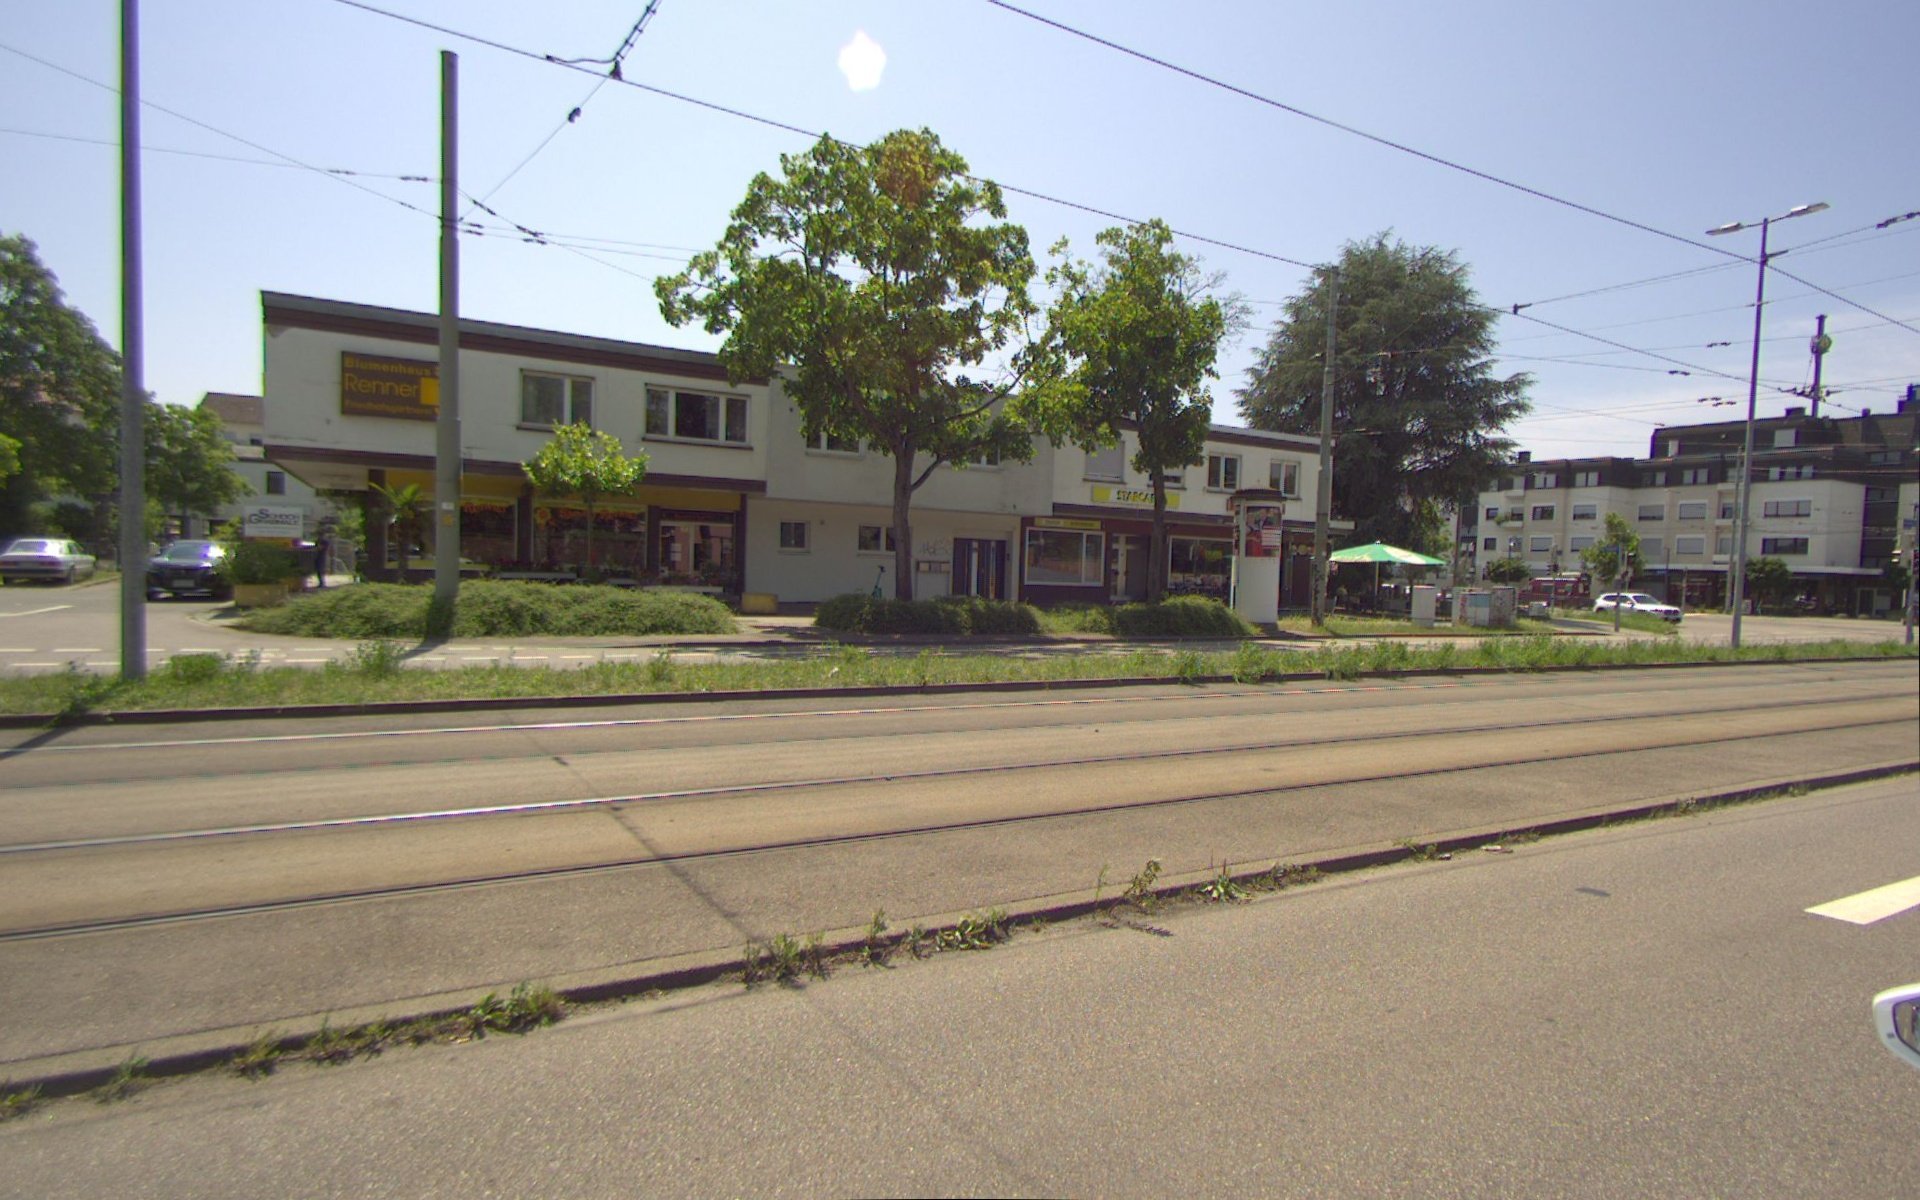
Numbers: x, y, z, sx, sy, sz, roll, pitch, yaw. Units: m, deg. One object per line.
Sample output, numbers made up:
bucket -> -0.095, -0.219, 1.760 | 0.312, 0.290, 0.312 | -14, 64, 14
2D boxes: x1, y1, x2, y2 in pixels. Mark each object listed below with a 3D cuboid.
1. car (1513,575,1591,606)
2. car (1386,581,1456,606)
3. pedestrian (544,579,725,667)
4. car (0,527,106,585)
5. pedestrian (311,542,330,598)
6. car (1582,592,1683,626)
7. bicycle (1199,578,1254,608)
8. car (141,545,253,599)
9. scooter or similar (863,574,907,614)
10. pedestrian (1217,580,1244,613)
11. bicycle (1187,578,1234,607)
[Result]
car -> 47.959, -0.780, 81.480 | 2.219, 2.372, 5.039 | 1, 0, -30
car -> 31.565, -0.447, 68.766 | 4.083, 1.605, 1.933 | 2, 1, 35
pedestrian -> -8.149, 0.559, 25.170 | 3.953, 2.040, 1.984 | 2, 0, -30
car -> -28.788, -1.352, 31.765 | 1.780, 1.678, 3.972 | 2, 0, -27
pedestrian -> -21.123, -0.991, 33.182 | 0.466, 1.823, 0.484 | 1, 1, -30
car -> 35.305, 0.448, 52.908 | 1.698, 1.632, 4.560 | 2, 0, -11
bicycle -> 9.312, -0.238, 35.063 | 2.005, 0.992, 0.607 | 2, 1, -30
car -> -20.084, -0.776, 26.606 | 1.660, 1.314, 3.971 | 0, 2, -27
scooter or similar -> -2.357, -0.193, 31.539 | 1.321, 1.207, 0.455 | 2, 1, -10
pedestrian -> 10.830, -0.157, 40.186 | 0.832, 1.285, 0.586 | 1, 1, -30
bicycle -> 9.092, -0.256, 36.445 | 1.738, 0.992, 0.536 | 2, 1, -30
